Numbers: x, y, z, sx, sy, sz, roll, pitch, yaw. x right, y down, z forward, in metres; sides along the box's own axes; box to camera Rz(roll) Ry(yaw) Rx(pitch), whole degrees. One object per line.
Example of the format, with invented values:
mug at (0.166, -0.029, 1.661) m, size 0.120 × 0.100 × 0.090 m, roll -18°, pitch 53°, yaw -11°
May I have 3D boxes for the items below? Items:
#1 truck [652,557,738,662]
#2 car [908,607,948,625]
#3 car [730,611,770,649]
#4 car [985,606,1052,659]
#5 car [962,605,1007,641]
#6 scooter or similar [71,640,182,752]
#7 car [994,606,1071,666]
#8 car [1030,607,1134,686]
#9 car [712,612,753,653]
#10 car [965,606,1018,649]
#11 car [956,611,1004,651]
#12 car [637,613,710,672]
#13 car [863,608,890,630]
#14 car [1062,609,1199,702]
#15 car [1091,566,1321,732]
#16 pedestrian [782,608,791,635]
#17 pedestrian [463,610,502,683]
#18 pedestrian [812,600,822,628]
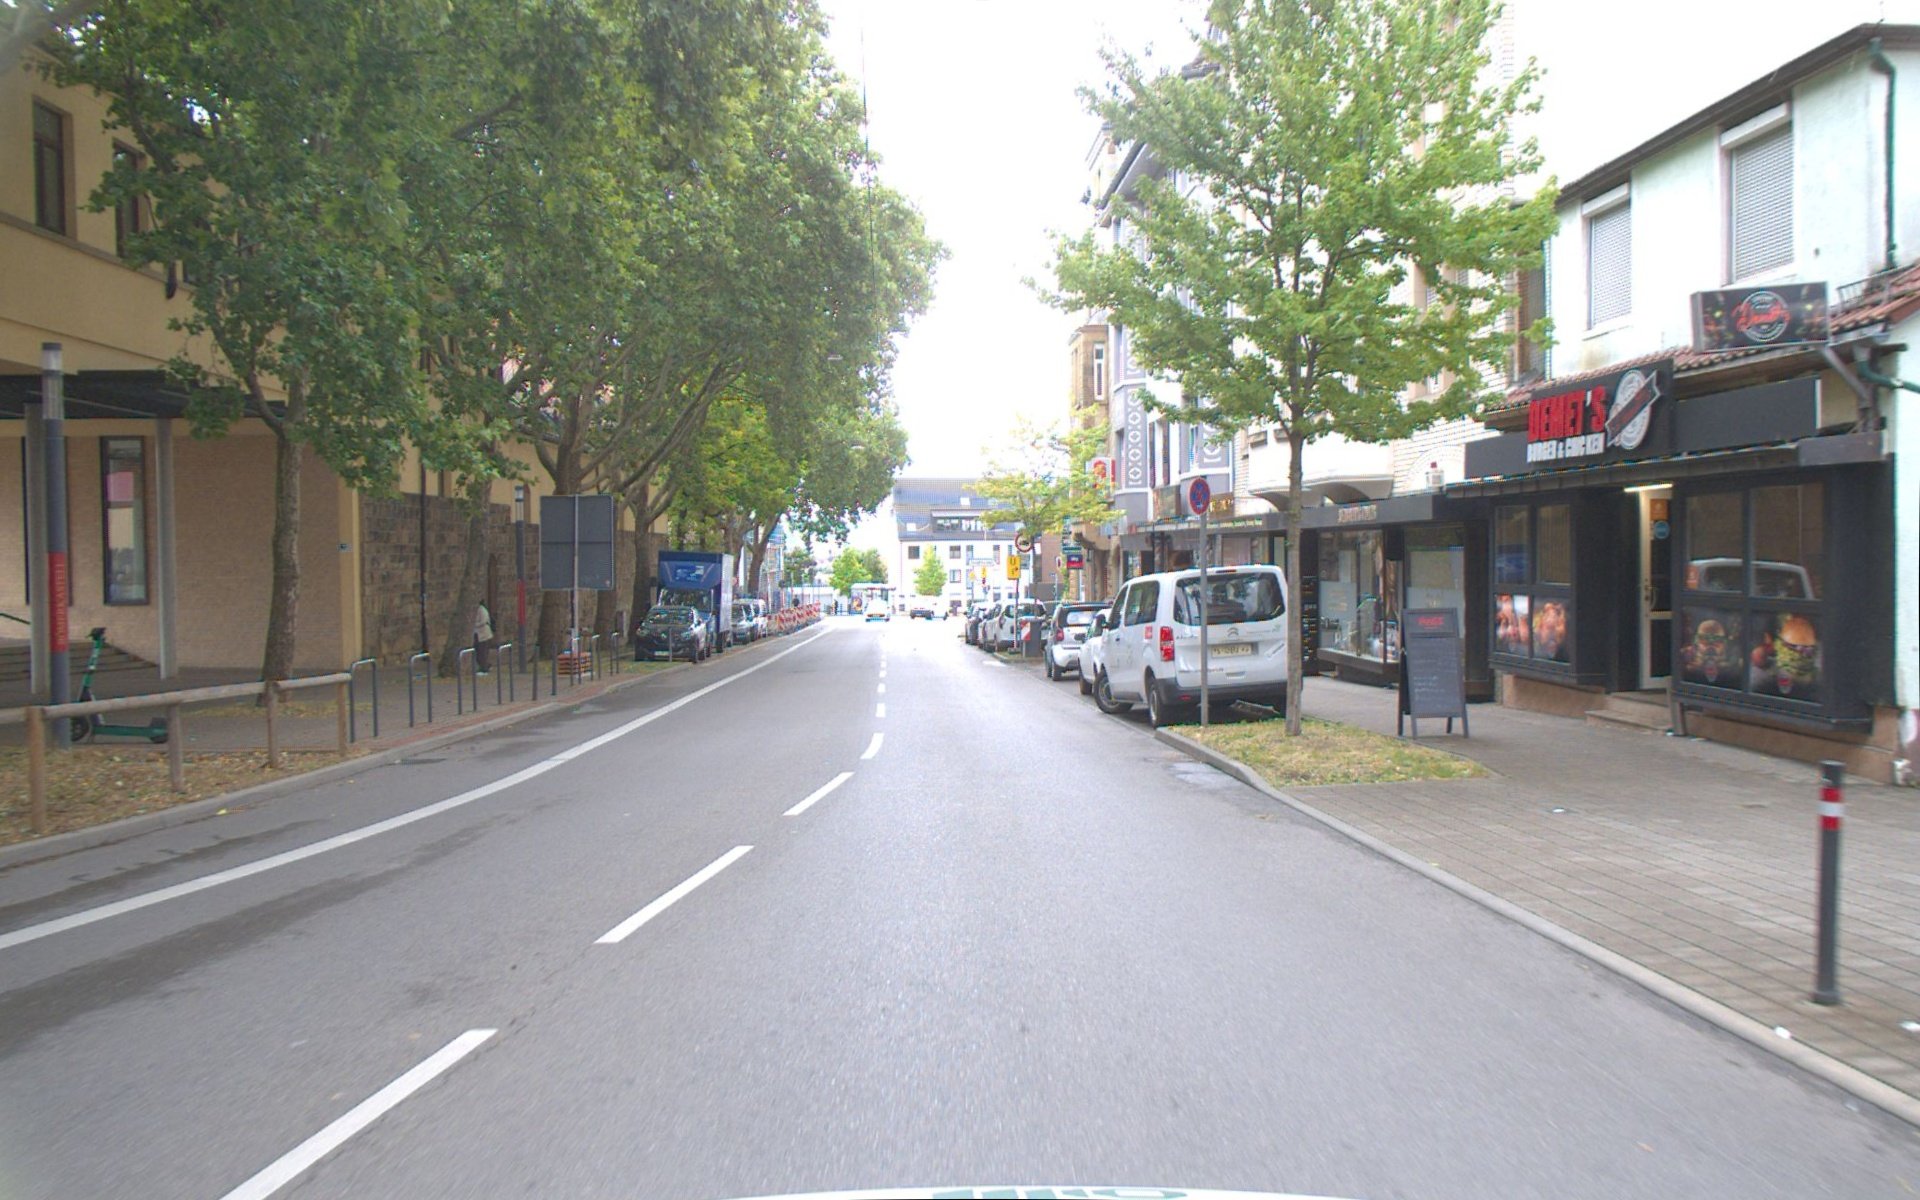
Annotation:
truck at (-9.125, 0.330, 57.631) m, size 2.186 × 3.405 × 7.444 m, roll -1°, pitch 0°, yaw -3°
car at (-2.682, 1.366, 138.354) m, size 1.644 × 1.449 × 4.171 m, roll -1°, pitch 0°, yaw 25°
car at (-10.147, 1.447, 80.111) m, size 1.577 × 1.758 × 3.998 m, roll -1°, pitch 0°, yaw -2°
car at (1.811, 0.981, 51.909) m, size 1.636 × 1.574 × 3.752 m, roll -1°, pitch 0°, yaw -5°
car at (1.103, 1.027, 75.804) m, size 1.636 × 1.574 × 3.752 m, roll -1°, pitch 0°, yaw -5°
scooter or similar at (-9.326, 1.062, 18.528) m, size 1.011 × 1.205 × 0.490 m, roll 0°, pitch -1°, yaw -12°
car at (1.966, 0.962, 45.593) m, size 1.636 × 1.574 × 3.752 m, roll -1°, pitch 0°, yaw -5°
car at (2.556, 0.953, 35.381) m, size 1.636 × 1.574 × 3.752 m, roll -1°, pitch 0°, yaw -5°
car at (-9.493, 1.328, 69.101) m, size 1.503 × 1.668 × 3.714 m, roll -1°, pitch 0°, yaw -5°
car at (1.168, 1.011, 62.727) m, size 1.636 × 1.574 × 3.752 m, roll -1°, pitch 0°, yaw -5°
car at (0.795, 1.280, 68.803) m, size 1.636 × 1.574 × 3.752 m, roll -1°, pitch 0°, yaw -5°
car at (-8.315, 1.211, 48.269) m, size 1.799 × 1.605 × 3.752 m, roll -1°, pitch 0°, yaw -5°
car at (-5.980, 1.348, 118.799) m, size 1.827 × 1.515 × 3.878 m, roll -1°, pitch 0°, yaw -2°
car at (2.827, 0.893, 28.145) m, size 1.636 × 1.457 × 3.752 m, roll -1°, pitch 0°, yaw -5°
car at (3.139, 0.589, 22.226) m, size 1.955 × 1.969 × 4.913 m, roll -1°, pitch 0°, yaw -5°
pedestrian at (-13.347, 1.666, 127.403) m, size 0.620 × 2.030 × 0.784 m, roll -1°, pitch 0°, yaw -1°
pedestrian at (-10.381, 0.994, 35.981) m, size 0.666 × 1.563 × 0.604 m, roll 0°, pitch -1°, yaw -33°
pedestrian at (-10.466, 1.010, 120.930) m, size 0.620 × 2.049 × 0.784 m, roll -1°, pitch 0°, yaw -1°
